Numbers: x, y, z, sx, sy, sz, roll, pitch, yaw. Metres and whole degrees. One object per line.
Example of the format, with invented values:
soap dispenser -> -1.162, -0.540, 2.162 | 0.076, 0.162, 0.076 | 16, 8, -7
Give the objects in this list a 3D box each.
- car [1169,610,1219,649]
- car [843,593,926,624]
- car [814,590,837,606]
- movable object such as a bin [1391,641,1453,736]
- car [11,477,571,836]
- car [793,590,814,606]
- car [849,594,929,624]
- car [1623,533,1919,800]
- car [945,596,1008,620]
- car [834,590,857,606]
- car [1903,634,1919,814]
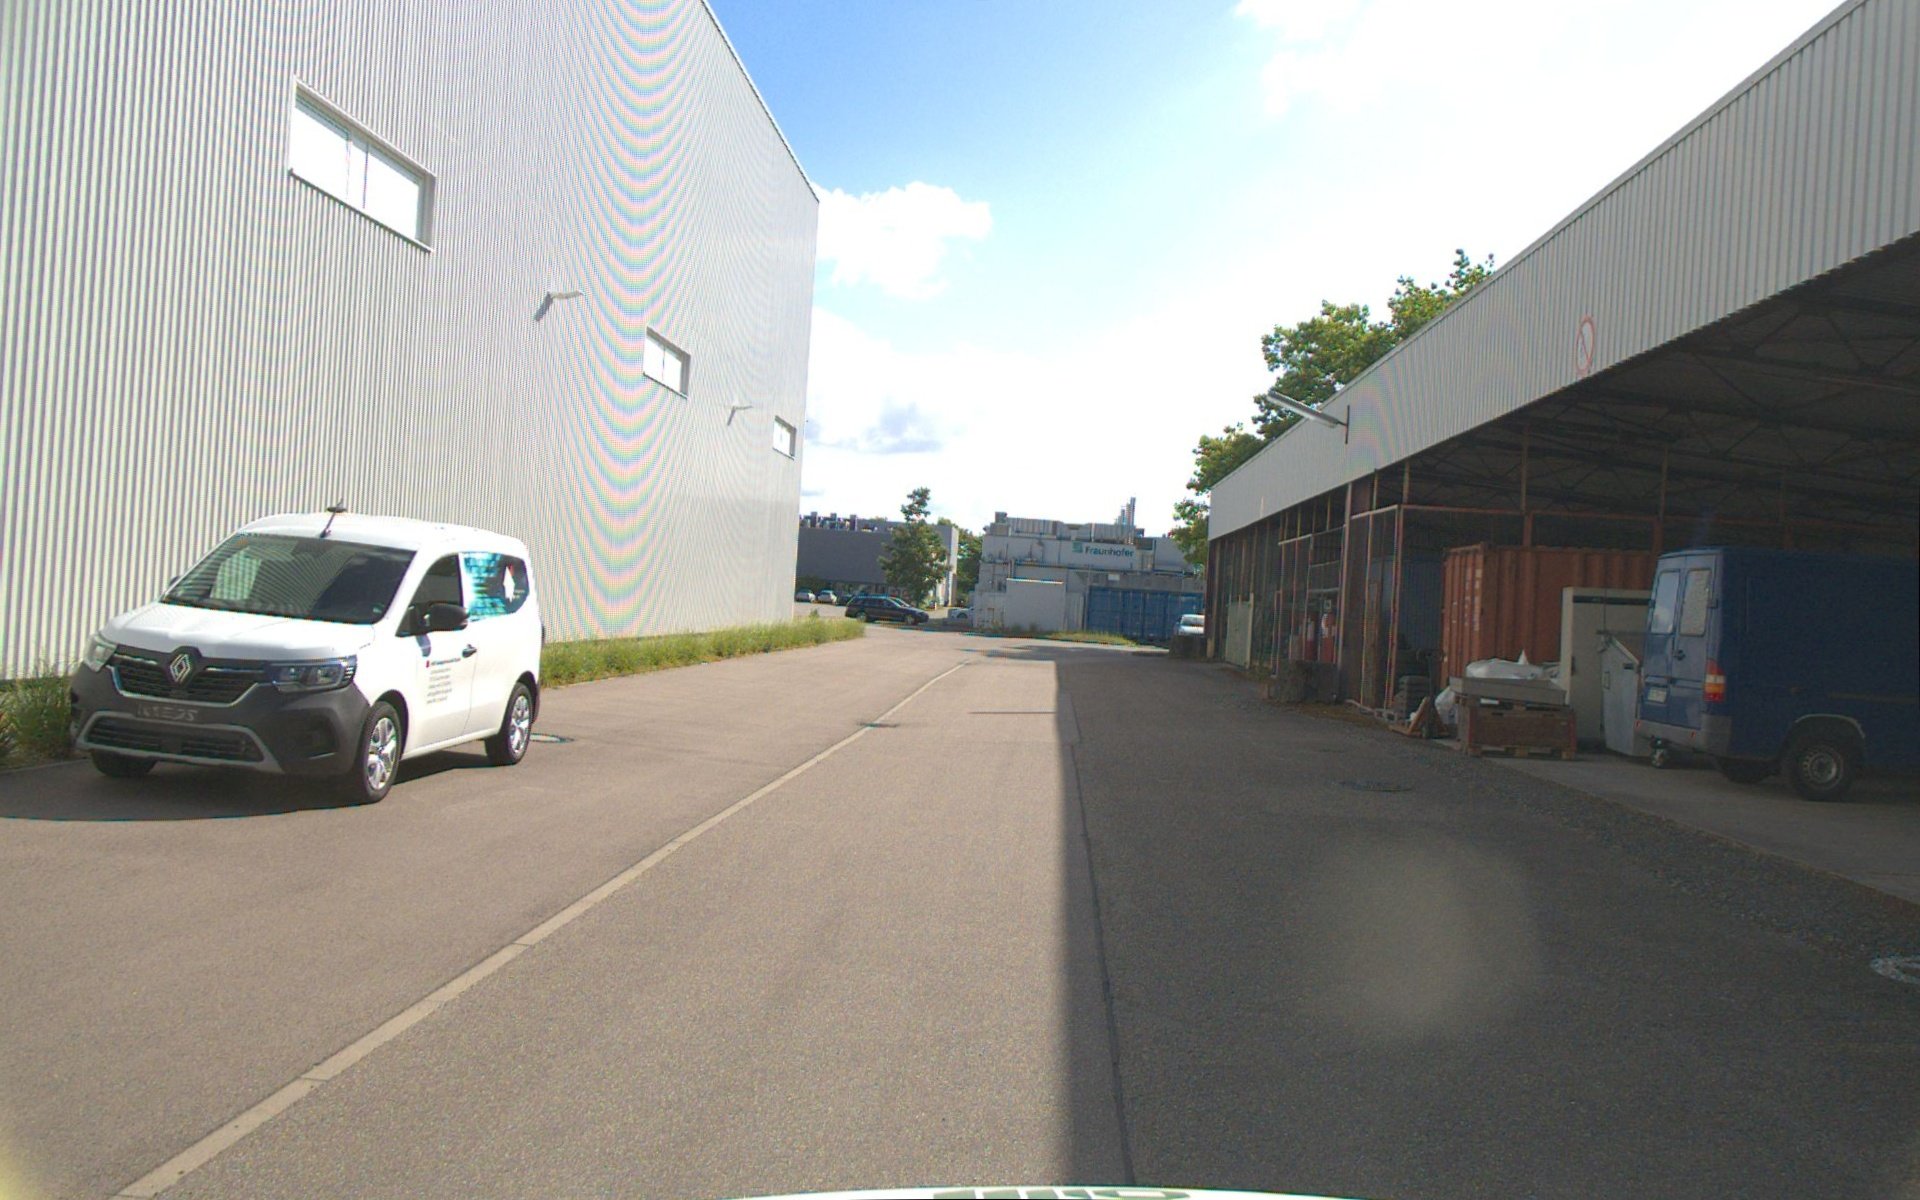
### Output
car -> 11.326, 1.419, 80.391 | 1.952, 1.613, 4.174 | 3, 1, 2
car -> -4.275, 0.494, 93.920 | 4.431, 1.534, 1.910 | 3, 0, 5
car -> -15.566, -0.209, 191.745 | 2.148, 1.766, 4.001 | 2, -1, 2
movable object such as a bin -> 6.145, 1.163, 22.040 | 0.569, 1.184, 1.239 | 2, 0, 7
car -> -4.335, 0.324, 11.617 | 1.852, 1.877, 4.360 | 5, 0, 2
car -> -18.113, -0.251, 191.523 | 1.952, 1.766, 4.001 | 2, -1, 2
car -> -4.141, 0.527, 97.155 | 4.431, 1.534, 1.910 | 3, 0, 5
car -> 9.367, 0.686, 16.201 | 4.875, 2.366, 2.001 | 3, 0, 3
car -> 1.211, 0.568, 121.298 | 4.431, 1.534, 1.910 | 3, 0, 4
car -> -13.153, -0.190, 189.917 | 2.148, 1.766, 4.001 | 2, -1, 2
car -> 9.984, 1.123, 13.175 | 3.907, 1.498, 1.788 | 3, 0, -2
